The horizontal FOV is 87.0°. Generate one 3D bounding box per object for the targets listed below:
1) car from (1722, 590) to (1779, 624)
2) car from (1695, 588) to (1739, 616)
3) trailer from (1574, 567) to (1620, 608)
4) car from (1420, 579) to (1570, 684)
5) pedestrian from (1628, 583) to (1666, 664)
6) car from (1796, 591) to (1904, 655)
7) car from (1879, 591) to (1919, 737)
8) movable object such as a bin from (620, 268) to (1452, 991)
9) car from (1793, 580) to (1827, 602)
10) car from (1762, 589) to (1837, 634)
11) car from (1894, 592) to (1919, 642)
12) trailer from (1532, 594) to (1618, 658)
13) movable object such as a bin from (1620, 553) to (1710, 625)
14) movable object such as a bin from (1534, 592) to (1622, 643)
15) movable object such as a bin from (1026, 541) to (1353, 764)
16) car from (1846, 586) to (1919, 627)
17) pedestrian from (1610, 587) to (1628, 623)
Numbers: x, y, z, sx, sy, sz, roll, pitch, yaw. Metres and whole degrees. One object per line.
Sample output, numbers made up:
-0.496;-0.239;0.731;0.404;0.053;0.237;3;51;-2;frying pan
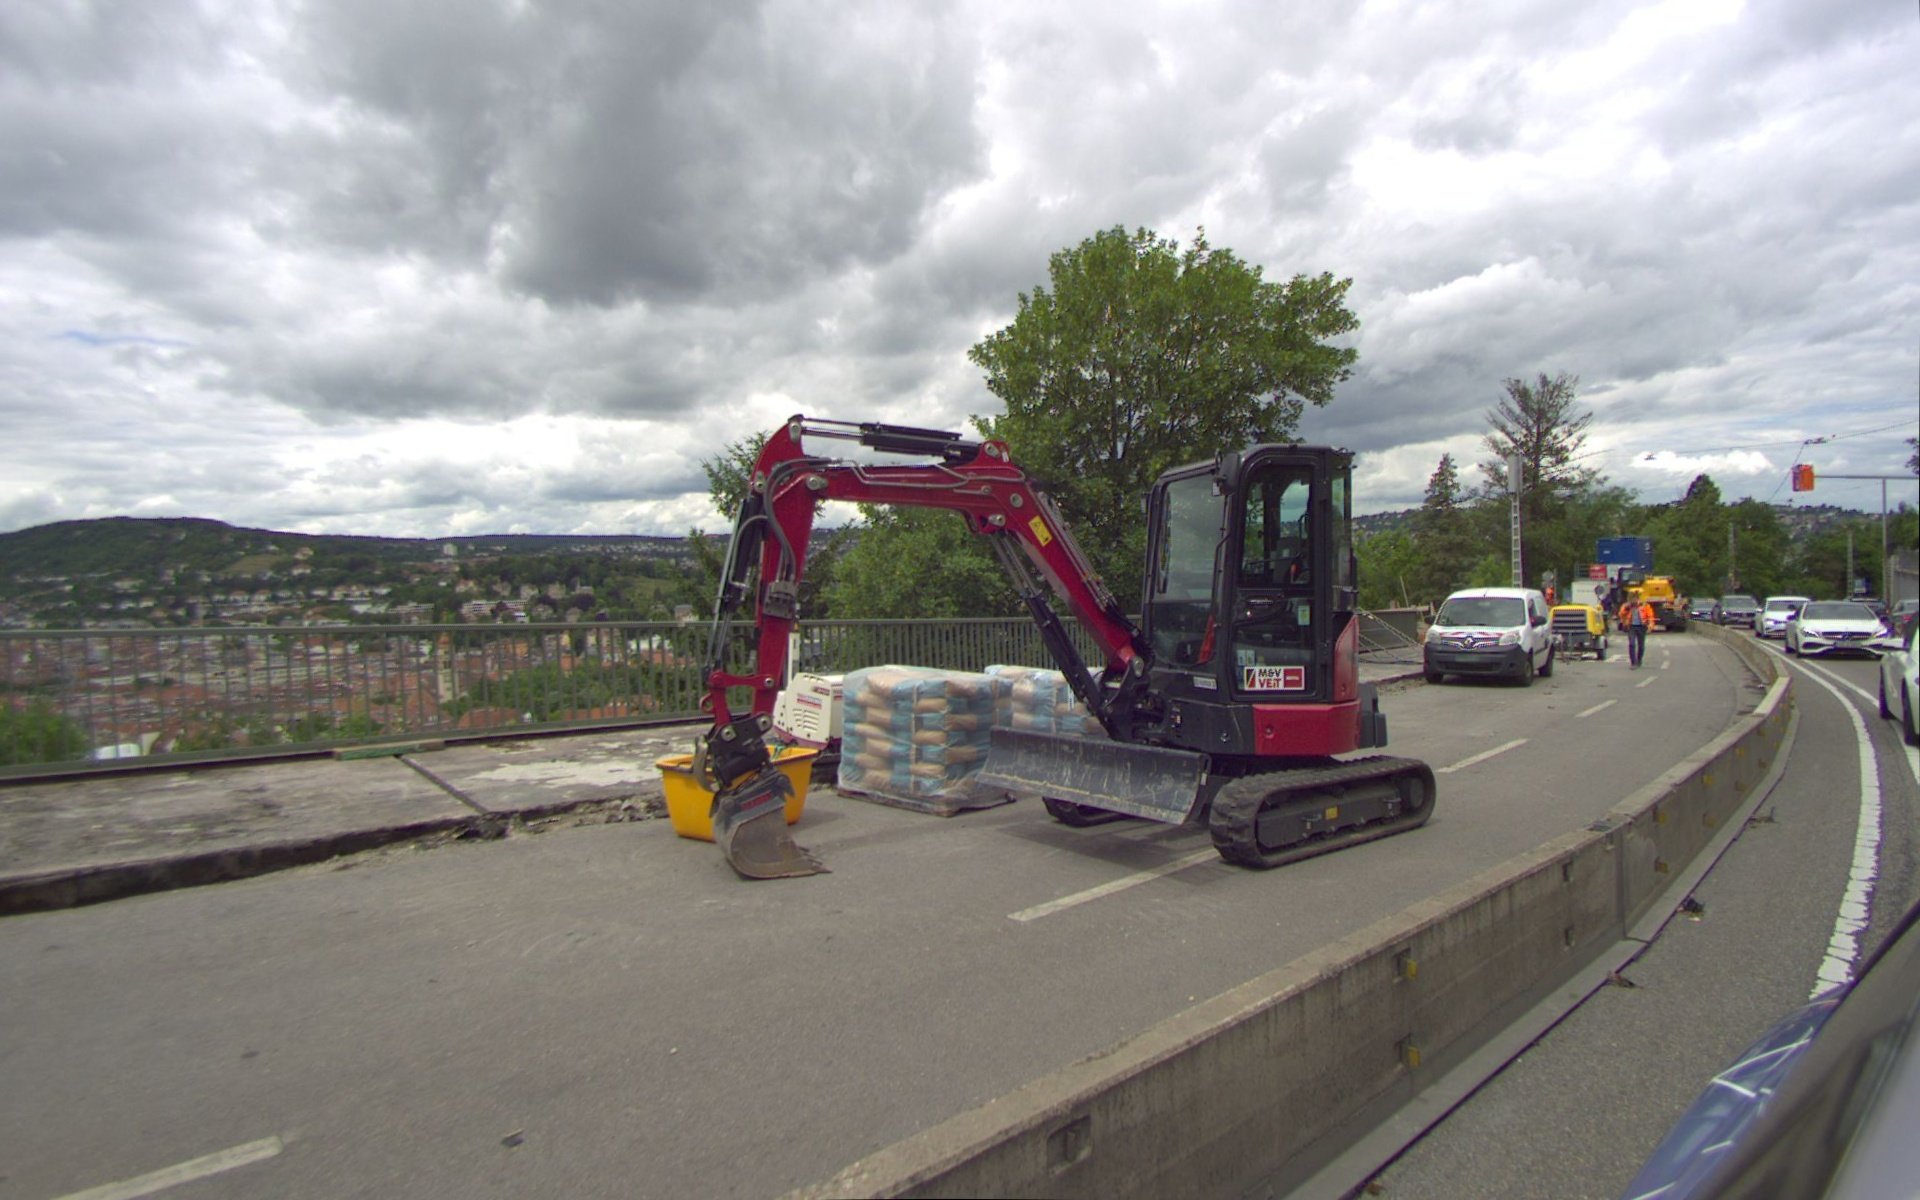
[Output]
38.942;0.306;49.954;1.787;1.529;3.954;3;3;32;car
46.149;0.100;61.761;1.787;1.529;3.954;3;3;32;car
42.754;-0.837;67.891;2.103;2.581;5.049;2;2;38;trailer
10.443;0.530;19.612;1.829;1.802;4.208;0;0;39;car
15.078;0.509;22.216;0.643;1.723;0.839;-2;-1;34;pedestrian
22.806;0.538;26.070;1.783;1.499;4.187;0;0;37;car
11.431;0.655;10.986;1.783;1.499;4.187;0;0;37;car
0.719;0.105;6.167;4.855;2.697;2.217;0;-1;-39;movable object such as a bin
66.034;-0.683;78.582;1.841;1.620;4.198;0;0;43;car
31.467;0.399;38.050;1.782;1.570;4.191;1;0;35;car
31.861;0.503;32.759;1.790;1.501;4.274;-2;-1;35;car
15.468;0.616;25.391;1.287;1.494;3.580;-1;0;40;trailer
33.379;-0.465;48.189;2.797;3.110;7.739;-1;0;30;movable object such as a bin
21.499;0.527;35.152;2.364;1.581;7.017;-1;0;32;movable object such as a bin
2.661;0.465;11.062;1.700;1.967;4.101;-1;-1;42;movable object such as a bin
38.536;0.269;42.305;1.809;1.643;3.770;-2;-1;35;car
33.195;0.266;50.986;0.683;1.818;0.535;0;-1;23;pedestrian
